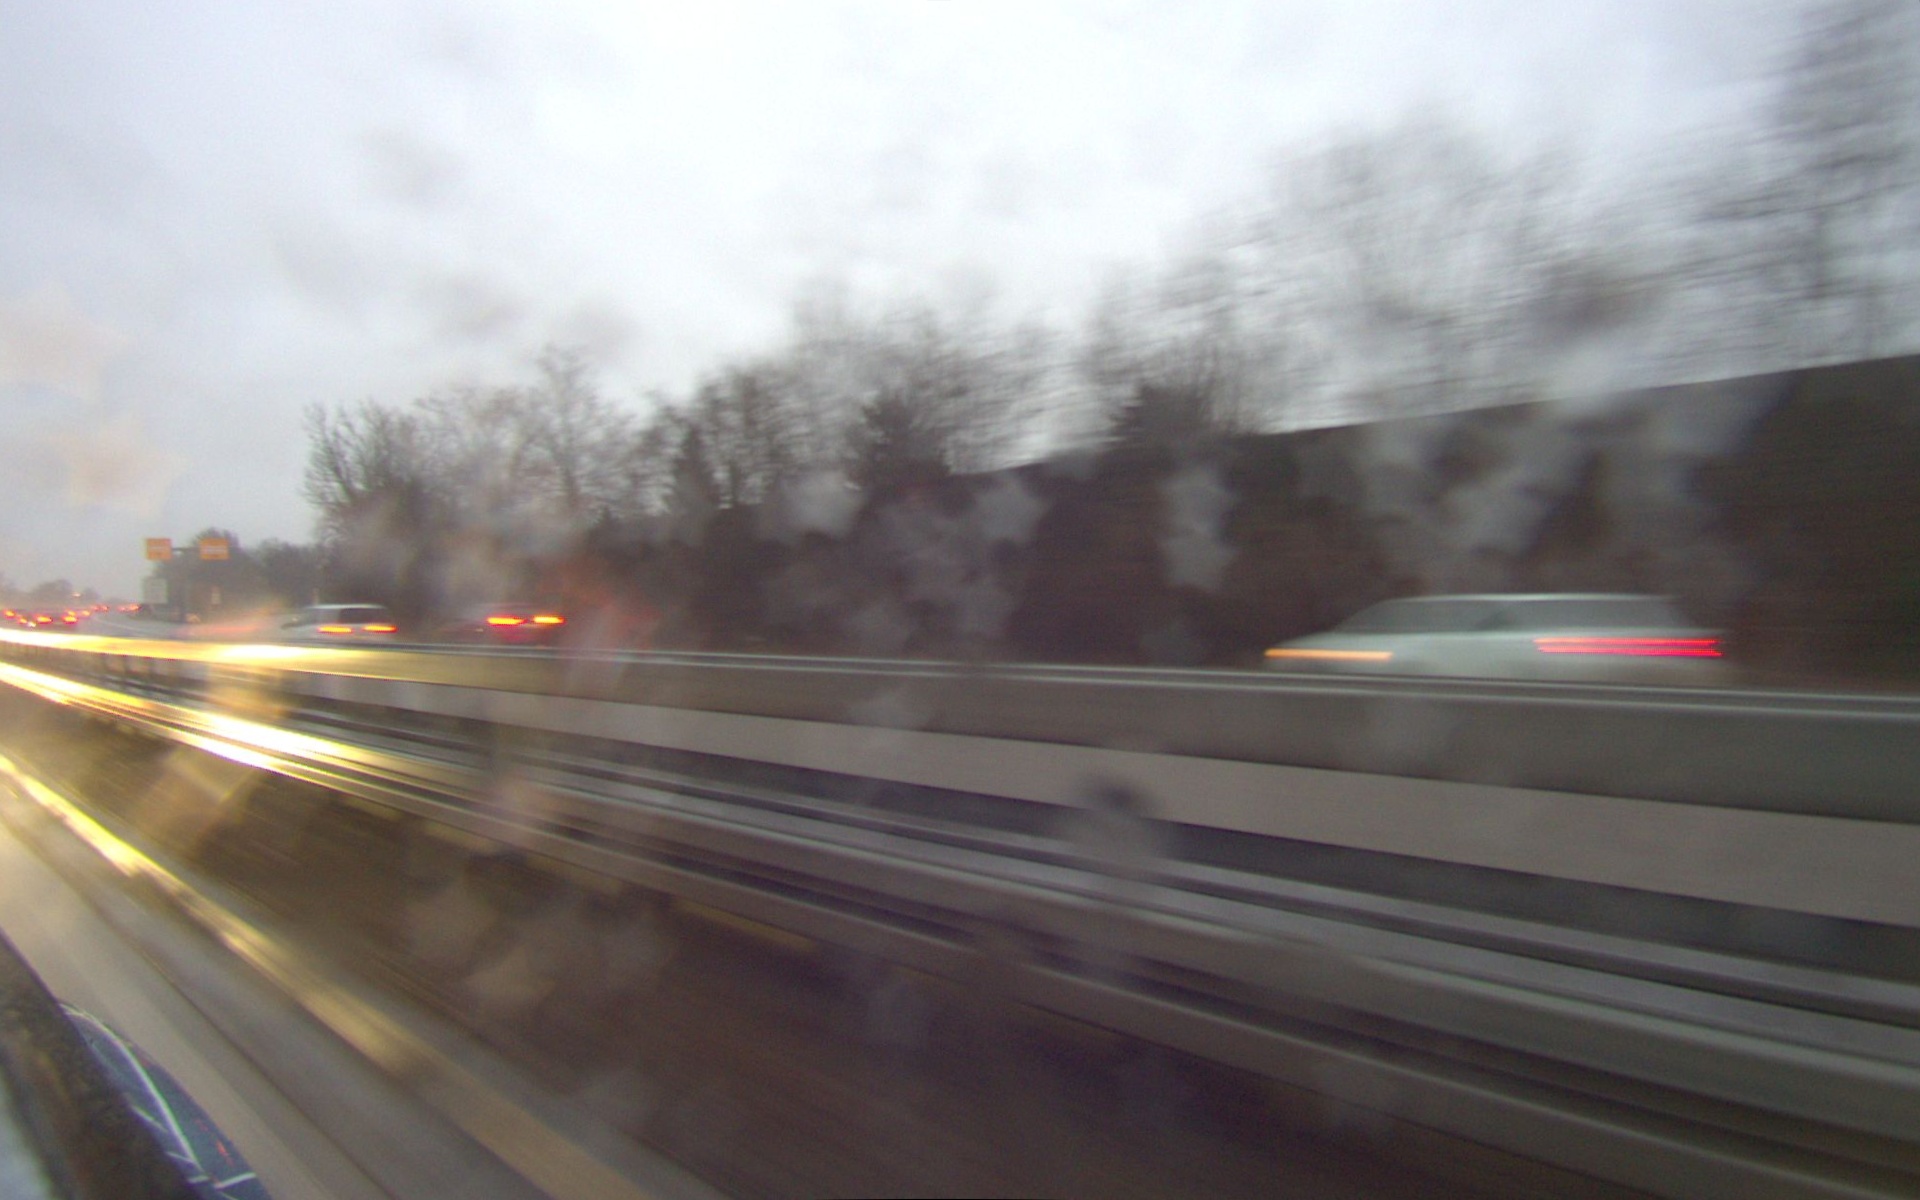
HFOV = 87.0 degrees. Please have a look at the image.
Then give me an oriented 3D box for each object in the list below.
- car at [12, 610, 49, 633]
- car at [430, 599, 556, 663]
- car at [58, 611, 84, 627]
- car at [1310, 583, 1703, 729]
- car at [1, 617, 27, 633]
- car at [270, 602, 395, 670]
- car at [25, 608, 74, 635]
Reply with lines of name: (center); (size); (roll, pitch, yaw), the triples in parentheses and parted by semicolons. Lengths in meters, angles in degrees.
car: (-64.907, 1.455, 70.671); (3.505, 1.530, 1.635); (-1, 1, 43)
car: (-14.810, 0.926, 31.962); (4.785, 1.846, 1.860); (-1, 1, 42)
car: (-96.853, 2.044, 110.242); (4.852, 1.578, 1.685); (0, 1, 44)
car: (6.829, 0.598, 12.884); (4.111, 1.550, 1.844); (-1, 1, 41)
car: (-94.628, 2.451, 101.217); (4.600, 1.495, 1.598); (0, 1, 44)
car: (-18.718, 1.006, 30.094); (4.785, 1.846, 1.863); (-1, 1, 42)
car: (-53.591, 1.227, 59.541); (4.134, 1.521, 1.764); (-1, 1, 42)
